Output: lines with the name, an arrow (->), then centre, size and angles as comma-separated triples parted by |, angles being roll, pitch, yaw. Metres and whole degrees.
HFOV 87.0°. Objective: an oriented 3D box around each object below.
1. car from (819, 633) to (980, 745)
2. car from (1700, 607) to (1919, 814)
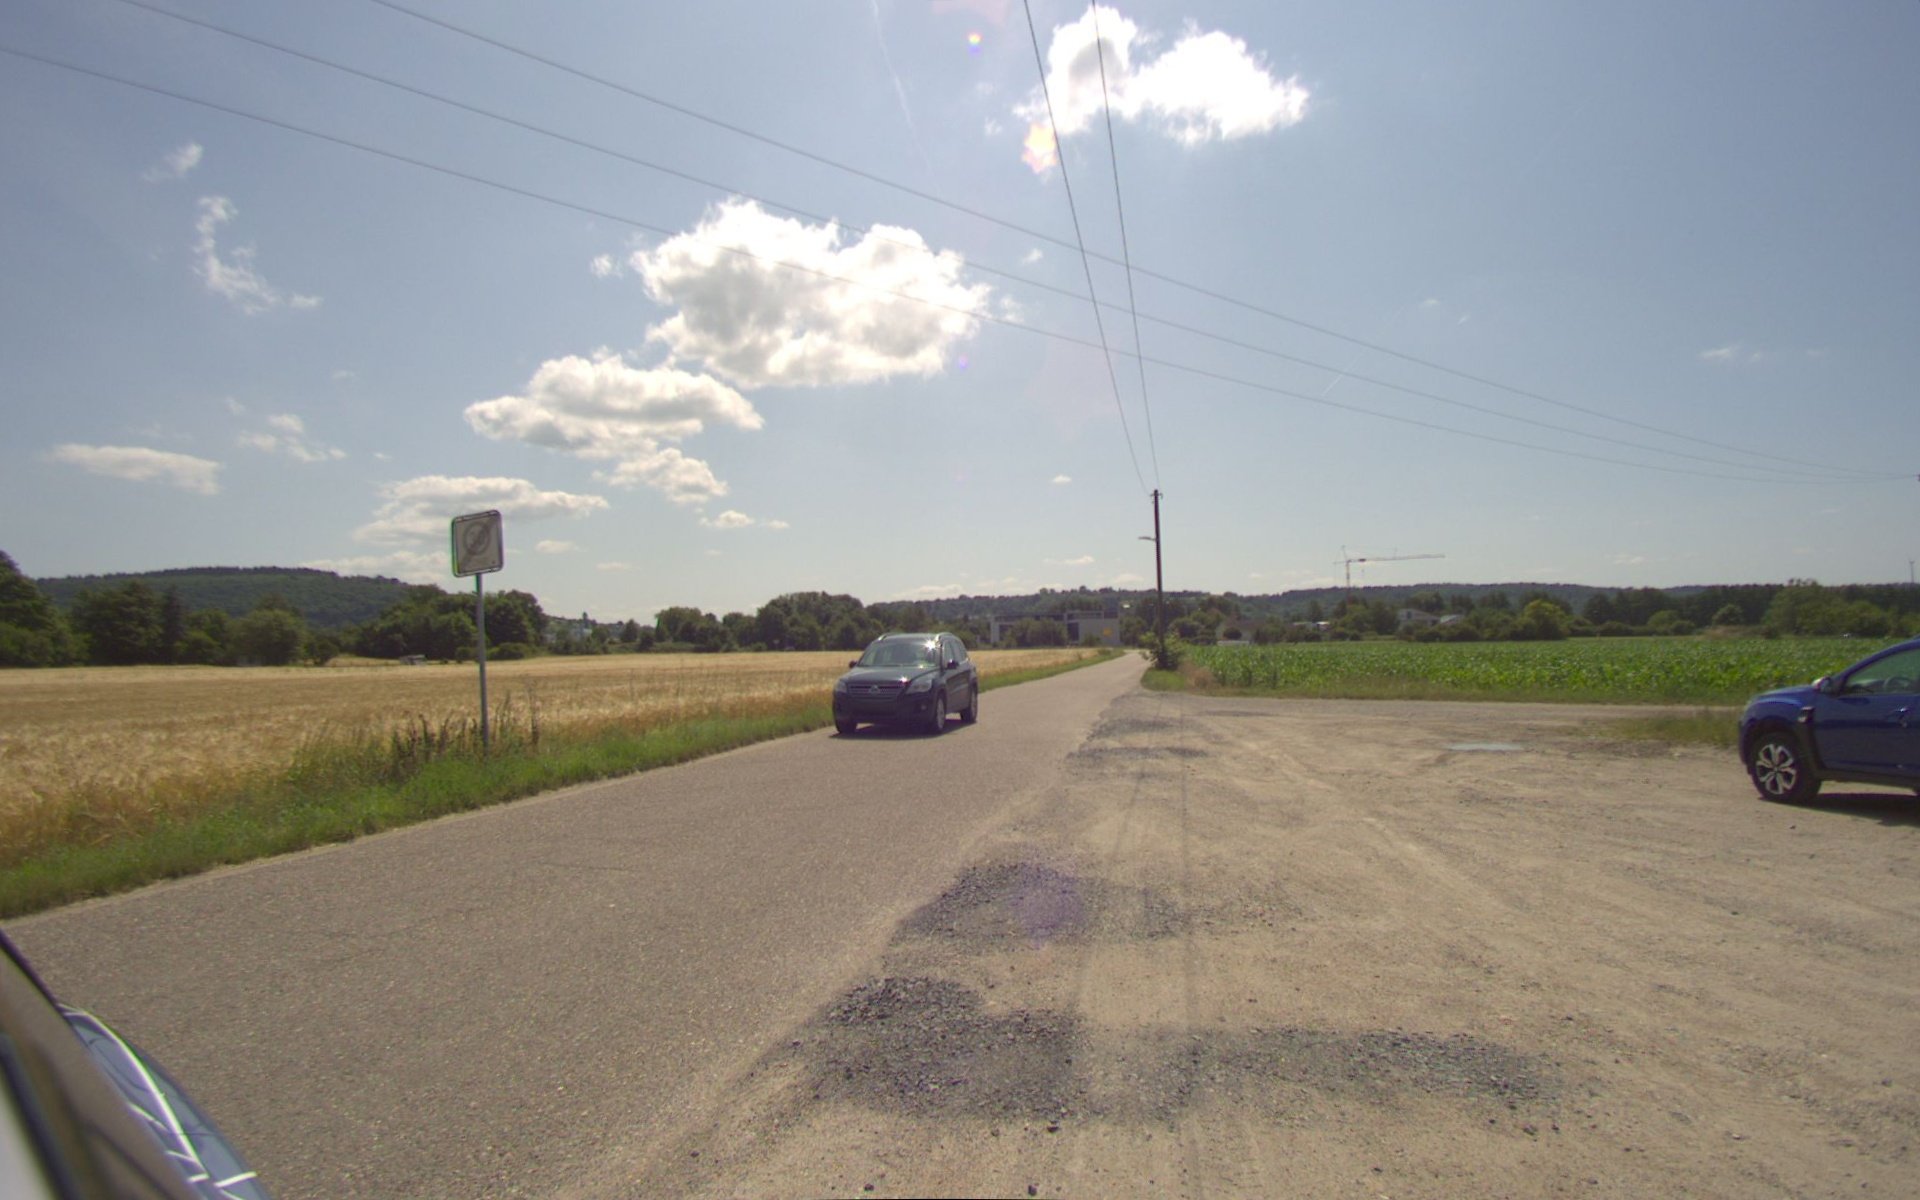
car -> -0.903, 1.465, 17.668 | 1.732, 1.692, 4.237 | -1, -3, 12
car -> 8.695, 0.900, 8.341 | 1.839, 1.674, 4.457 | 0, -4, 0
